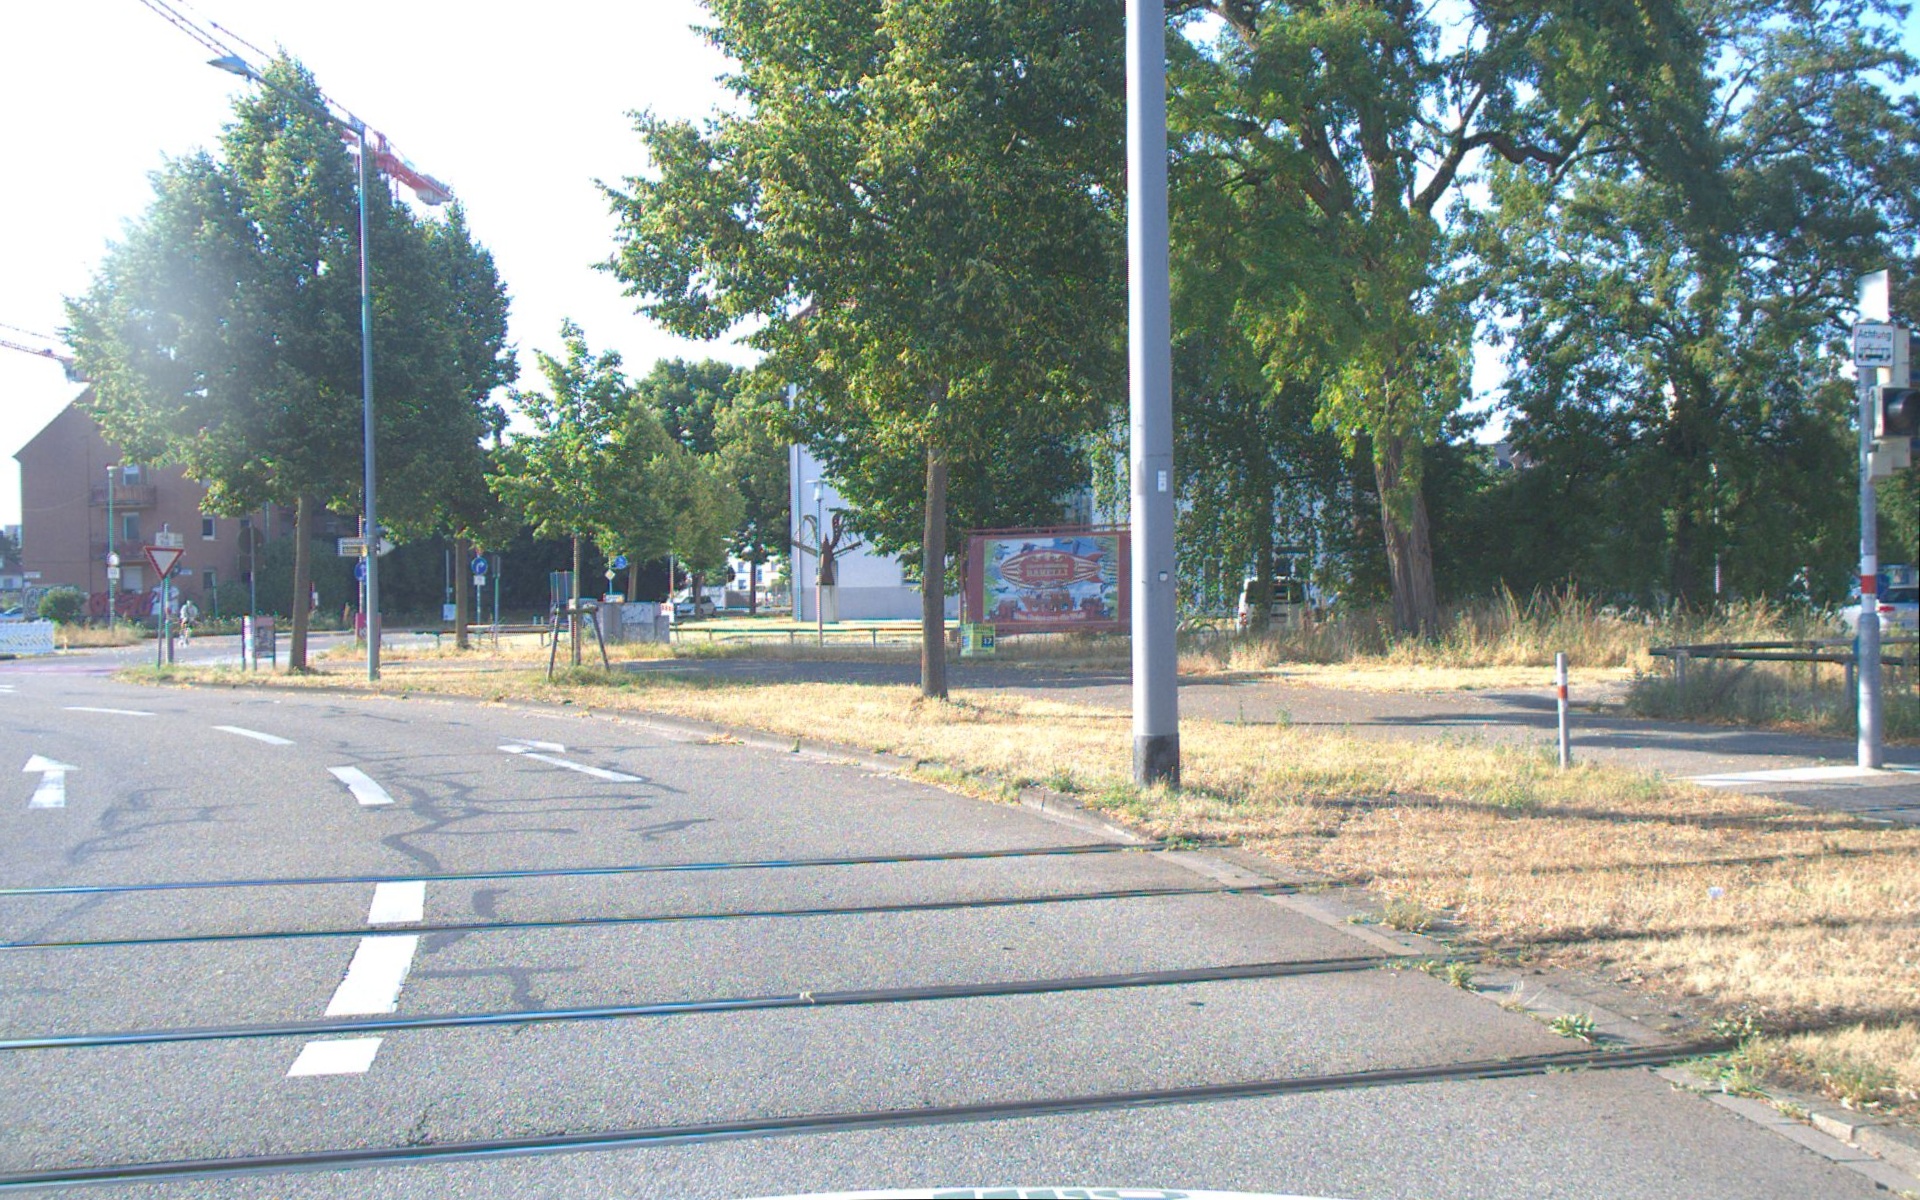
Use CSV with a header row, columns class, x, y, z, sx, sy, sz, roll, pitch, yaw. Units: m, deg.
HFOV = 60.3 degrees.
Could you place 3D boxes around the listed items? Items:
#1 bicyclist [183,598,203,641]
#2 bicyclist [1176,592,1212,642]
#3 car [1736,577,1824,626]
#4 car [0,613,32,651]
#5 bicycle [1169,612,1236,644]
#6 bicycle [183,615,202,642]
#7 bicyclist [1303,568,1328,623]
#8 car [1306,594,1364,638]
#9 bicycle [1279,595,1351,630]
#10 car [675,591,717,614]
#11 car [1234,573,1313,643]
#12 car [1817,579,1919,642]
class,x,y,z,sx,sy,sz,roll,pitch,yaw
bicyclist,-28.970,0.740,62.488,0.650,1.589,0.886,-1,0,-27
bicyclist,6.788,0.495,47.969,0.884,1.420,0.523,-1,1,-20
car,25.293,0.031,51.141,1.567,1.426,3.972,-1,0,13
car,-54.826,1.828,93.523,3.728,2.049,1.673,-1,0,4
bicycle,7.038,0.809,48.060,1.958,0.839,0.427,-1,1,-21
bicycle,-28.888,1.058,62.270,0.589,0.980,2.088,-1,0,-26
bicyclist,10.065,-0.129,46.853,0.609,1.537,0.419,-1,0,4
car,10.998,0.444,48.388,1.567,1.201,3.972,-1,0,13
bicycle,10.044,0.354,46.868,1.945,0.934,0.430,-1,1,4
car,-17.626,0.147,110.539,1.549,1.467,3.556,-1,0,13
car,7.945,0.181,41.674,1.733,1.646,3.972,-1,0,13
car,22.145,0.238,40.035,1.567,1.426,3.972,-1,0,13
